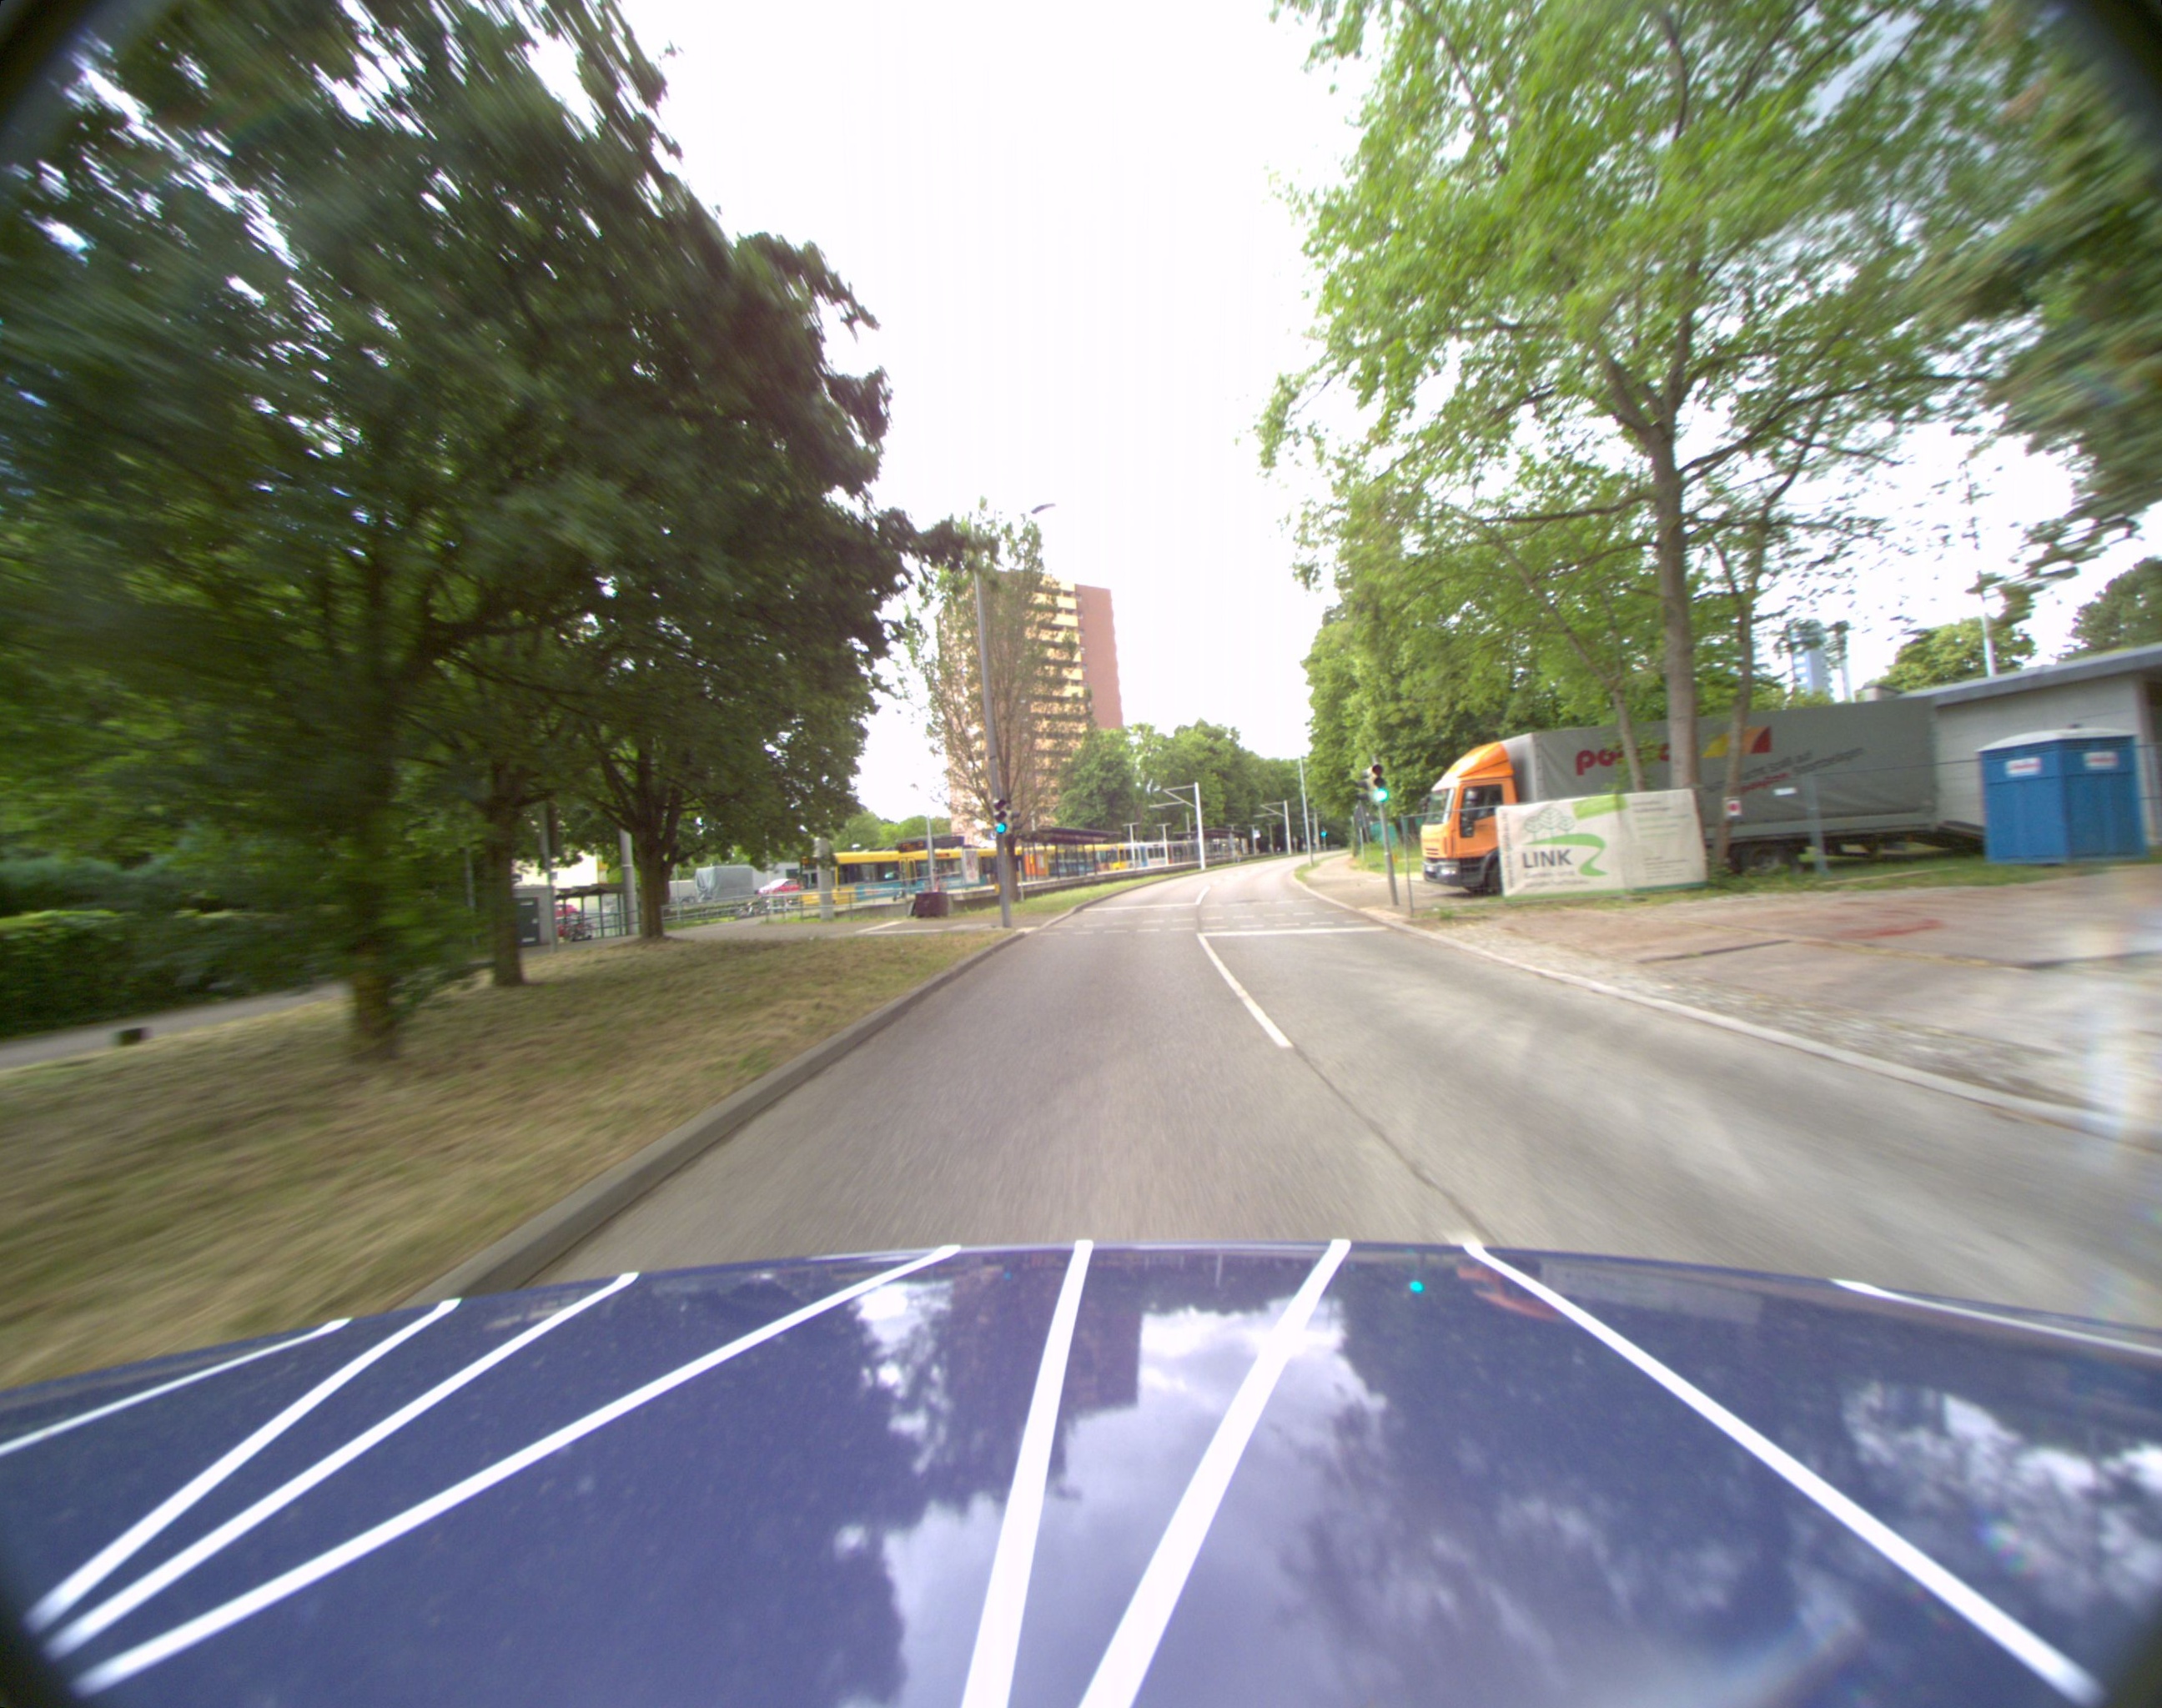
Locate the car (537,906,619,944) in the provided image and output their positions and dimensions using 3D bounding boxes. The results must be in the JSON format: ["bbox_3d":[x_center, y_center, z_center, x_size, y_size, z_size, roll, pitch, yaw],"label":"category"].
[{"bbox_3d":[-32.973,4.642,49.927,1.900,2.002,4.006,-4,0,24],"label":"car"}]

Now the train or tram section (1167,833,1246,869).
[{"bbox_3d":[16.369,-0.524,97.038,2.816,3.714,18.563,-7,-2,31],"label":"train or tram section"}]

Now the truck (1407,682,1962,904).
[{"bbox_3d":[12.513,-1.153,16.671,9.248,3.511,2.566,-6,1,10],"label":"truck"}]

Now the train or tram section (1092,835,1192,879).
[{"bbox_3d":[6.982,0.089,80.579,2.816,3.775,18.964,-7,-2,28],"label":"train or tram section"}]

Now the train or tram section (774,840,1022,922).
[{"bbox_3d":[-9.465,1.132,44.994,2.817,3.566,19.542,-7,-1,23],"label":"train or tram section"}]

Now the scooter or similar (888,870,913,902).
[{"bbox_3d":[-7.823,1.371,32.998,0.430,1.246,1.255,-5,2,11],"label":"scooter or similar"}]

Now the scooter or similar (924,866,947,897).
[{"bbox_3d":[-6.605,1.239,34.485,0.430,1.246,1.255,-4,2,15],"label":"scooter or similar"}]

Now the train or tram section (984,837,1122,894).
[{"bbox_3d":[-1.557,0.664,63.032,2.817,3.714,19.542,-7,-1,24],"label":"train or tram section"}]

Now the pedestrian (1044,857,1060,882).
[{"bbox_3d":[-1.887,1.049,50.235,0.623,1.563,0.666,-5,0,41],"label":"pedestrian"}]

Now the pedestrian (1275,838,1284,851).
[{"bbox_3d":[28.240,-1.391,108.061,0.985,1.747,0.731,-7,-2,21],"label":"pedestrian"}]

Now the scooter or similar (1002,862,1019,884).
[{"bbox_3d":[-4.176,1.109,44.870,0.368,1.235,1.148,-5,0,23],"label":"scooter or similar"}]
